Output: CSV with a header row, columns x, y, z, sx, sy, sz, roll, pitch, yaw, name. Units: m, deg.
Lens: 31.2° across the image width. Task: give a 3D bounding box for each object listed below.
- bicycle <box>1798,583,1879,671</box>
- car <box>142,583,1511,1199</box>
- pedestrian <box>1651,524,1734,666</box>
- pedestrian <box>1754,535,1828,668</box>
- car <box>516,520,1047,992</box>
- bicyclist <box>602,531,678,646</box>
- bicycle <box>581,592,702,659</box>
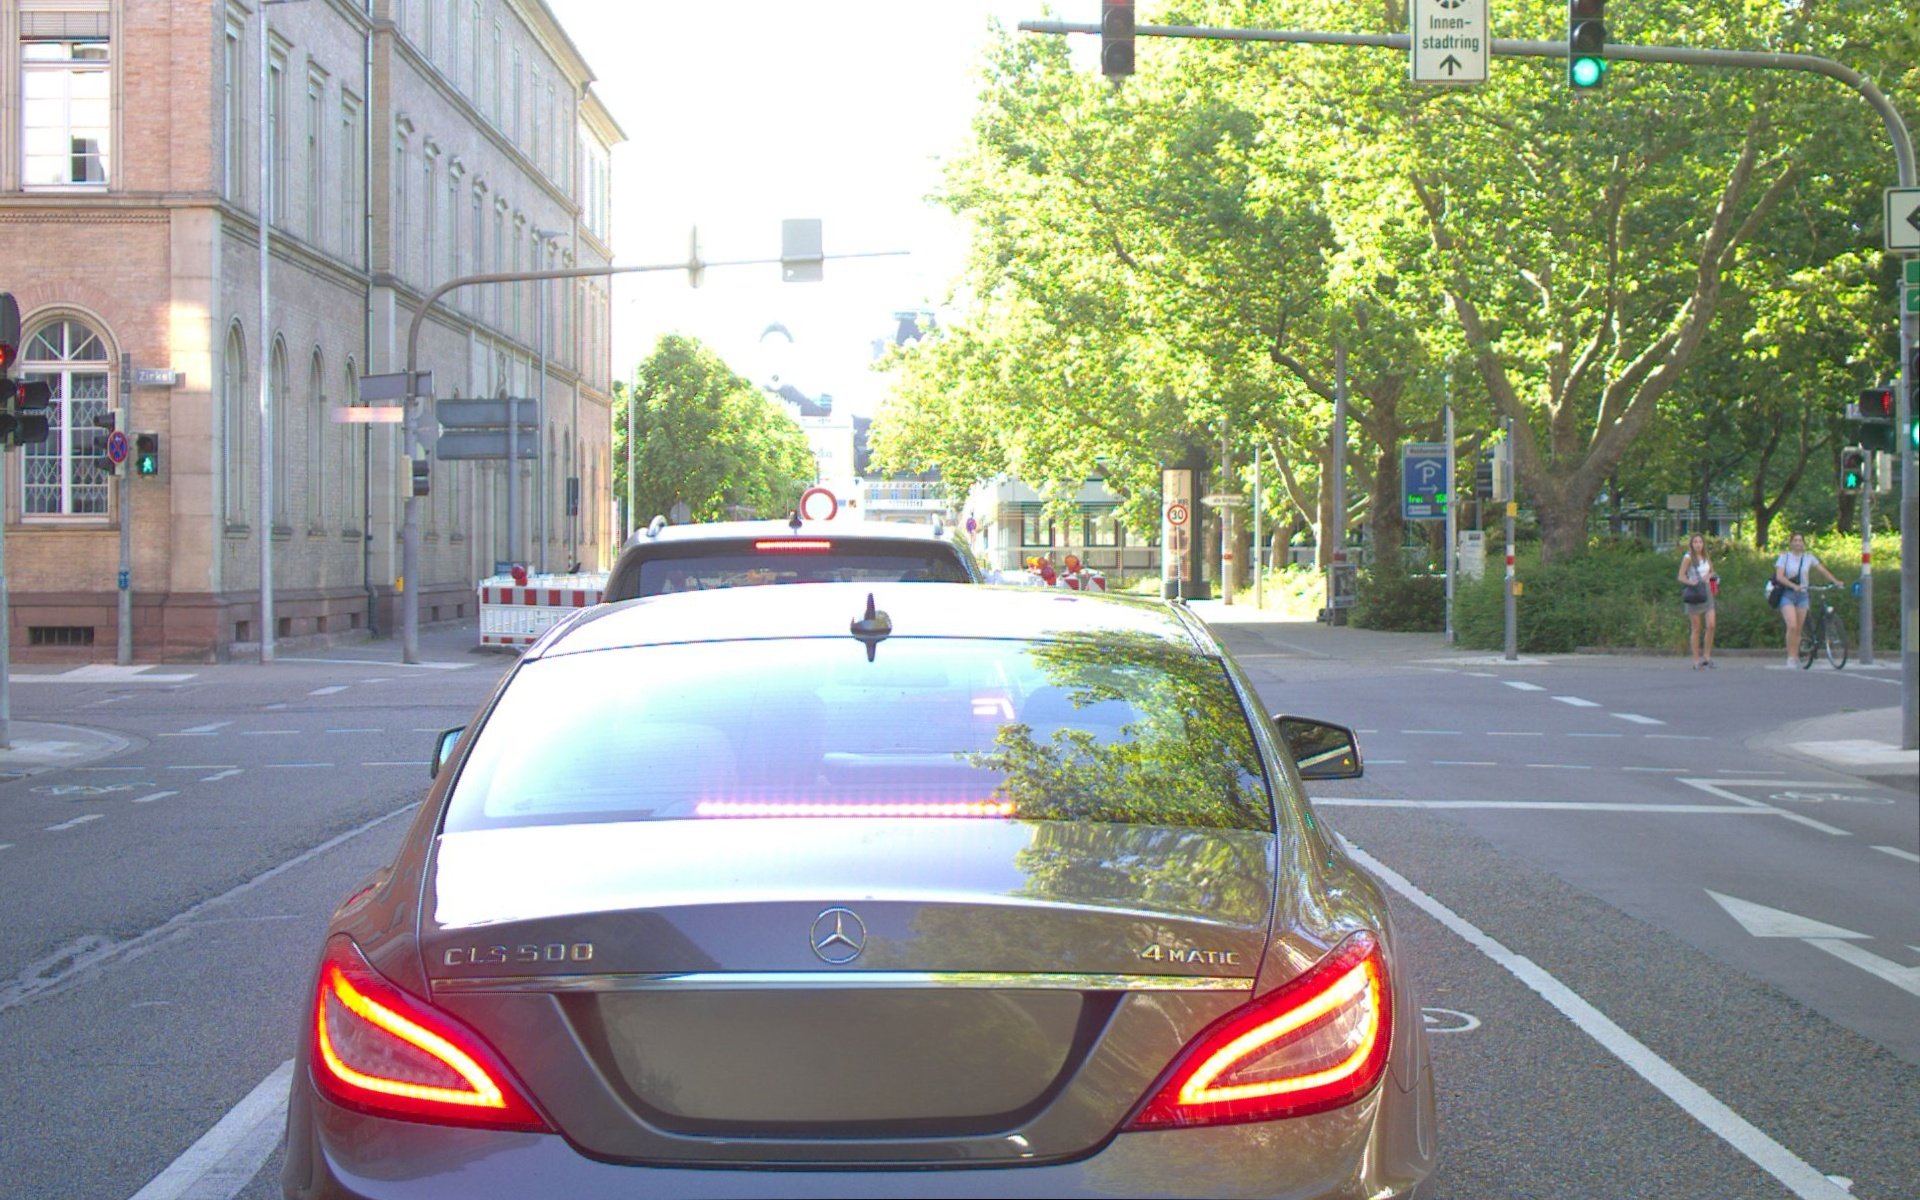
x,y,z,sx,sy,sz,roll,pitch,yaw,name
11.221,0.334,43.945,0.524,1.096,1.741,1,1,-1,bicycle
-0.086,0.701,6.898,1.843,1.424,4.517,1,1,3,car
9.435,-0.062,44.291,0.732,1.802,0.909,-1,-1,-10,pedestrian
10.684,0.014,44.211,0.683,1.691,0.971,1,0,-1,pedestrian
-0.576,0.515,13.745,1.809,1.607,4.000,0,1,1,car
-4.382,-0.164,47.095,0.649,1.553,0.805,1,0,37,bicyclist
-4.354,0.340,47.155,0.549,0.888,1.864,1,1,36,bicycle
